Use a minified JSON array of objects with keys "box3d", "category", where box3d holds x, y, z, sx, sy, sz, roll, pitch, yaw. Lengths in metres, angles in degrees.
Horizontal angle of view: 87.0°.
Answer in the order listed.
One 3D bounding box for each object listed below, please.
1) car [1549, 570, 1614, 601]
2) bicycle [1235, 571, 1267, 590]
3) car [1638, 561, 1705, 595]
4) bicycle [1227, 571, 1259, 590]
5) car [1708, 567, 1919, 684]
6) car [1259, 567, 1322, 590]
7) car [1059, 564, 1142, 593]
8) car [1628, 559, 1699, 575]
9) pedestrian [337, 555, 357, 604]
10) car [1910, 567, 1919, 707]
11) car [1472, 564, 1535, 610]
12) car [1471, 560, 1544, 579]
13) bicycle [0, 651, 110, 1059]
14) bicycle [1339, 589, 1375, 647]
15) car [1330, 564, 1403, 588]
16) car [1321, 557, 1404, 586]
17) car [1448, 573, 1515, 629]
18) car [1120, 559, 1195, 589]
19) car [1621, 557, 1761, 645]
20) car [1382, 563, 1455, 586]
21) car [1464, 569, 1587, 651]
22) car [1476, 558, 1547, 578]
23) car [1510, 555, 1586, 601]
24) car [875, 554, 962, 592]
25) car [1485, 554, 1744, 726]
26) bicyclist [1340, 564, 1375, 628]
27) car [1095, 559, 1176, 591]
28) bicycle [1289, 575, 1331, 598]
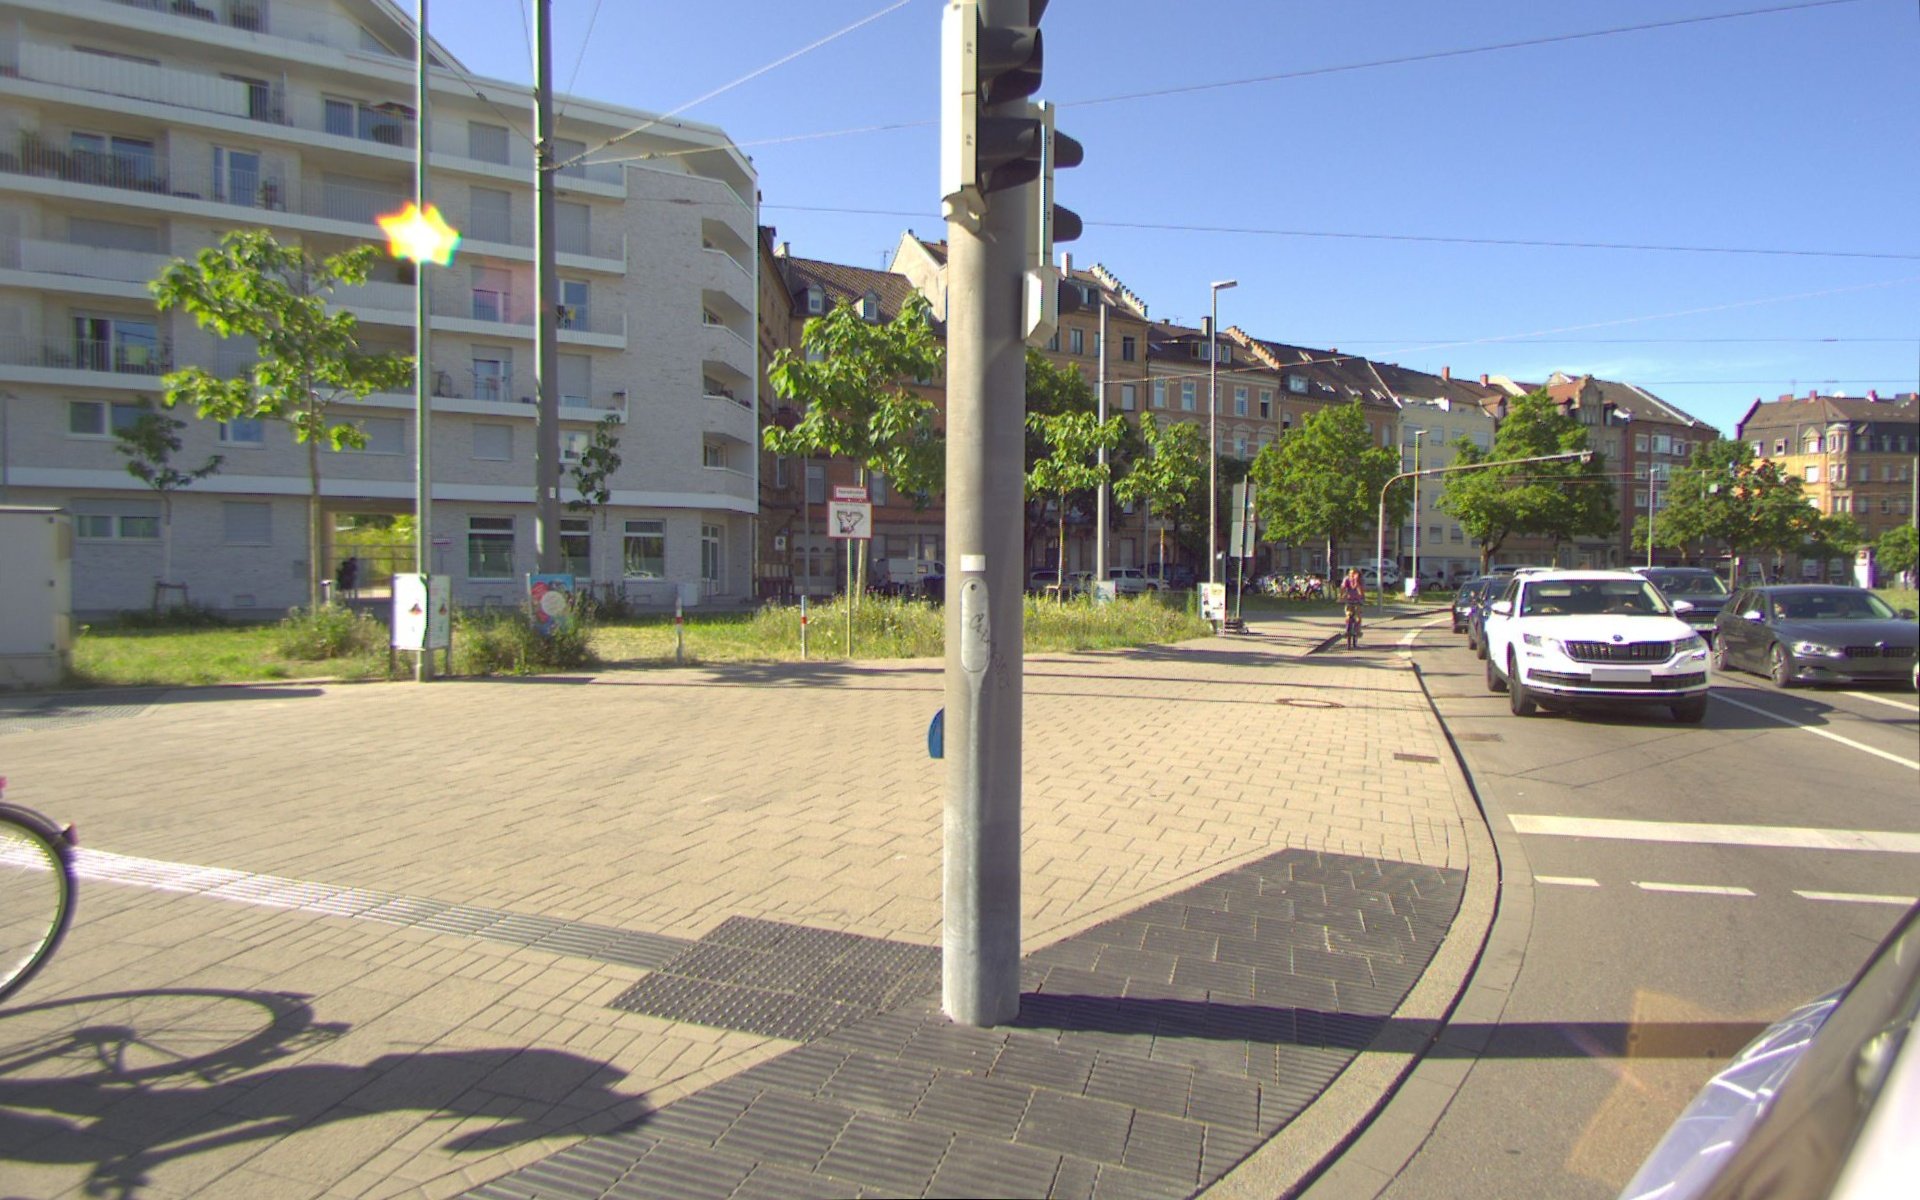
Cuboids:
[{"box3d":[31.300,-0.760,50.952,3.844,1.465,1.871,-2,2,-43],"category":"car"},{"box3d":[16.251,-1.080,56.550,0.444,1.037,1.759,-1,2,-41],"category":"bicycle"},{"box3d":[34.046,-1.075,48.415,3.933,1.575,1.871,-2,2,-43],"category":"car"},{"box3d":[15.683,-1.069,56.148,0.444,1.037,1.759,-1,2,-41],"category":"bicycle"},{"box3d":[12.673,0.264,14.829,1.821,1.448,4.447,-1,1,24],"category":"car"},{"box3d":[19.989,-1.301,61.168,3.430,1.348,1.717,0,1,26],"category":"car"},{"box3d":[7.444,-1.151,53.504,3.959,1.482,1.983,0,1,26],"category":"car"},{"box3d":[56.503,-2.617,81.380,4.356,1.225,1.983,1,2,26],"category":"car"},{"box3d":[-21.244,-0.703,35.063,0.512,1.668,0.472,-1,1,-24],"category":"pedestrian"},{"box3d":[9.913,0.395,8.422,1.651,1.449,3.806,-3,0,23],"category":"car"},{"box3d":[19.708,-0.521,36.815,1.856,1.575,3.964,0,2,26],"category":"car"},{"box3d":[38.686,-2.144,71.564,4.374,1.249,1.975,1,2,36],"category":"car"},{"box3d":[-3.545,0.780,2.640,1.979,1.118,0.695,-2,3,-44],"category":"bicycle"},{"box3d":[8.912,0.374,22.705,0.689,1.118,1.998,2,4,22],"category":"bicycle"},{"box3d":[26.722,-1.590,66.558,4.355,1.525,1.983,0,2,26],"category":"car"},{"box3d":[25.444,-1.779,64.002,4.745,1.793,1.717,0,1,26],"category":"car"},{"box3d":[14.719,-0.015,28.682,1.570,1.451,3.803,0,2,26],"category":"car"},{"box3d":[11.493,-1.501,58.892,3.959,1.682,1.983,0,1,26],"category":"car"},{"box3d":[15.684,-0.037,21.933,1.752,1.705,4.288,-1,1,27],"category":"car"},{"box3d":[30.476,-1.684,67.274,4.355,1.479,1.983,0,2,26],"category":"car"},{"box3d":[11.894,0.128,21.532,1.854,1.575,3.969,0,2,23],"category":"car"},{"box3d":[40.284,-2.327,73.953,4.374,1.479,1.975,1,2,36],"category":"car"},{"box3d":[27.314,-1.037,46.958,4.578,2.006,1.870,-2,2,-44],"category":"car"},{"box3d":[-2.350,-1.544,57.636,4.548,2.139,2.003,-1,1,-27],"category":"car"},{"box3d":[7.524,0.346,12.105,1.854,1.650,4.305,-1,1,23],"category":"car"},{"box3d":[8.981,-0.109,22.849,0.689,1.393,0.733,2,3,22],"category":"bicyclist"},{"box3d":[9.531,-1.345,55.017,3.959,1.682,1.983,0,1,26],"category":"car"},{"box3d":[16.256,-0.620,46.998,1.727,1.037,0.569,0,1,-3],"category":"bicycle"}]
